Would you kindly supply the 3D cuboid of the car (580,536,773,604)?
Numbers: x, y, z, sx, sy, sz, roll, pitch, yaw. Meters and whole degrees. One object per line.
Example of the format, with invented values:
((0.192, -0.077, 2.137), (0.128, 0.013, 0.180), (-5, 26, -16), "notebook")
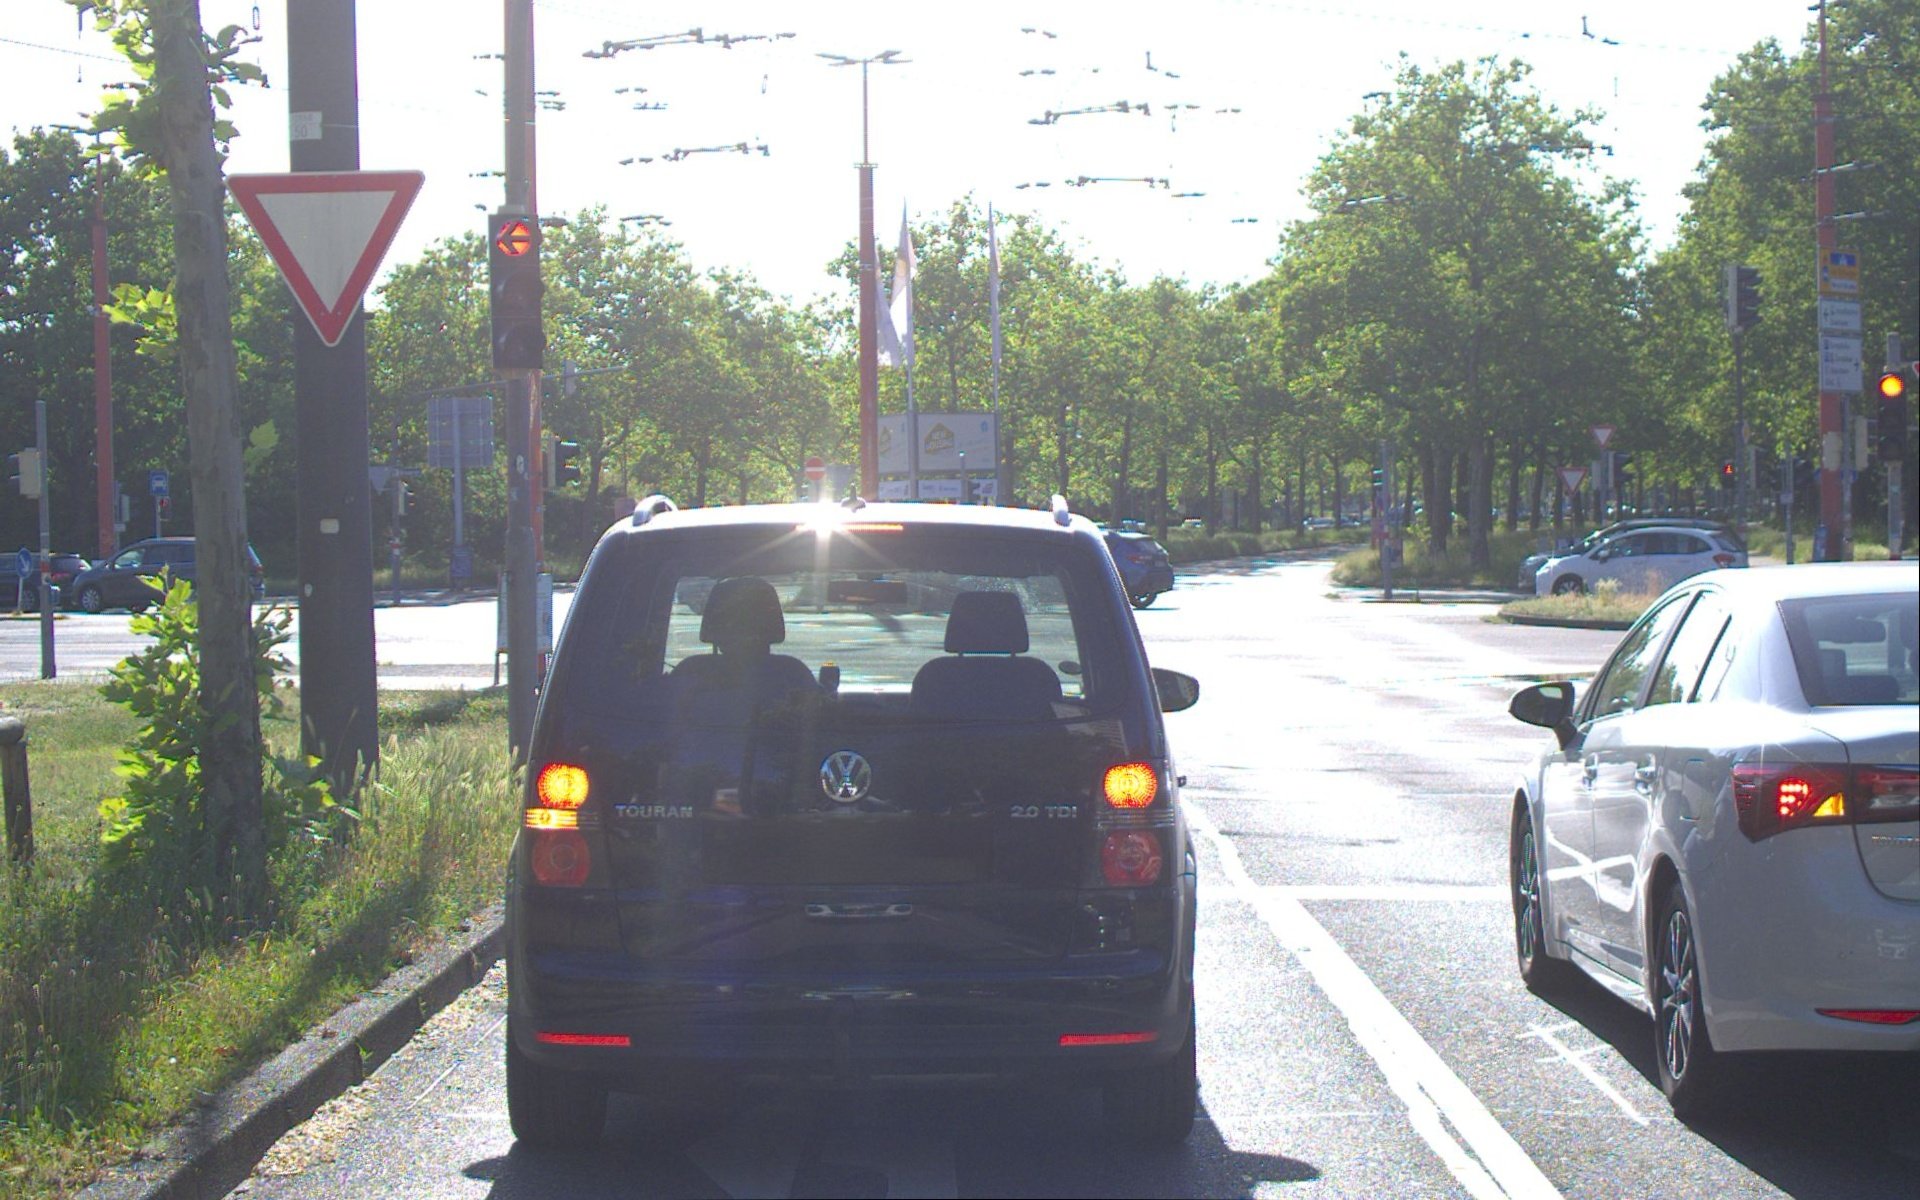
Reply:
((-6.364, -0.686, 77.197), (3.969, 1.436, 1.684), (1, 1, 24), "car")

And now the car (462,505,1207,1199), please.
((-0.318, 0.559, 9.821), (1.700, 1.616, 3.897), (0, 1, -1), "car")

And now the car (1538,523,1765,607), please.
((12.855, -0.656, 63.926), (3.824, 1.517, 1.693), (0, 1, 27), "car")

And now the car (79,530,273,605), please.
((-18.076, -0.743, 79.222), (4.185, 1.638, 1.757), (1, 1, 27), "car")

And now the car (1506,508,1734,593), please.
((13.118, -0.983, 68.351), (4.125, 1.638, 1.850), (0, 1, 25), "car")

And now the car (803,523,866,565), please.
((-5.096, -2.256, 139.905), (1.915, 1.630, 3.999), (1, 1, 7), "car")

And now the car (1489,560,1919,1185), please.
((2.712, 0.619, 10.106), (1.720, 1.433, 4.198), (1, 1, 1), "car")

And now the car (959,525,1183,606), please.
((2.230, -0.695, 69.194), (4.125, 1.592, 1.826), (0, 1, 27), "car")

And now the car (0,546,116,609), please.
((-23.260, -0.586, 85.591), (4.127, 1.505, 1.820), (1, 1, 26), "car")
